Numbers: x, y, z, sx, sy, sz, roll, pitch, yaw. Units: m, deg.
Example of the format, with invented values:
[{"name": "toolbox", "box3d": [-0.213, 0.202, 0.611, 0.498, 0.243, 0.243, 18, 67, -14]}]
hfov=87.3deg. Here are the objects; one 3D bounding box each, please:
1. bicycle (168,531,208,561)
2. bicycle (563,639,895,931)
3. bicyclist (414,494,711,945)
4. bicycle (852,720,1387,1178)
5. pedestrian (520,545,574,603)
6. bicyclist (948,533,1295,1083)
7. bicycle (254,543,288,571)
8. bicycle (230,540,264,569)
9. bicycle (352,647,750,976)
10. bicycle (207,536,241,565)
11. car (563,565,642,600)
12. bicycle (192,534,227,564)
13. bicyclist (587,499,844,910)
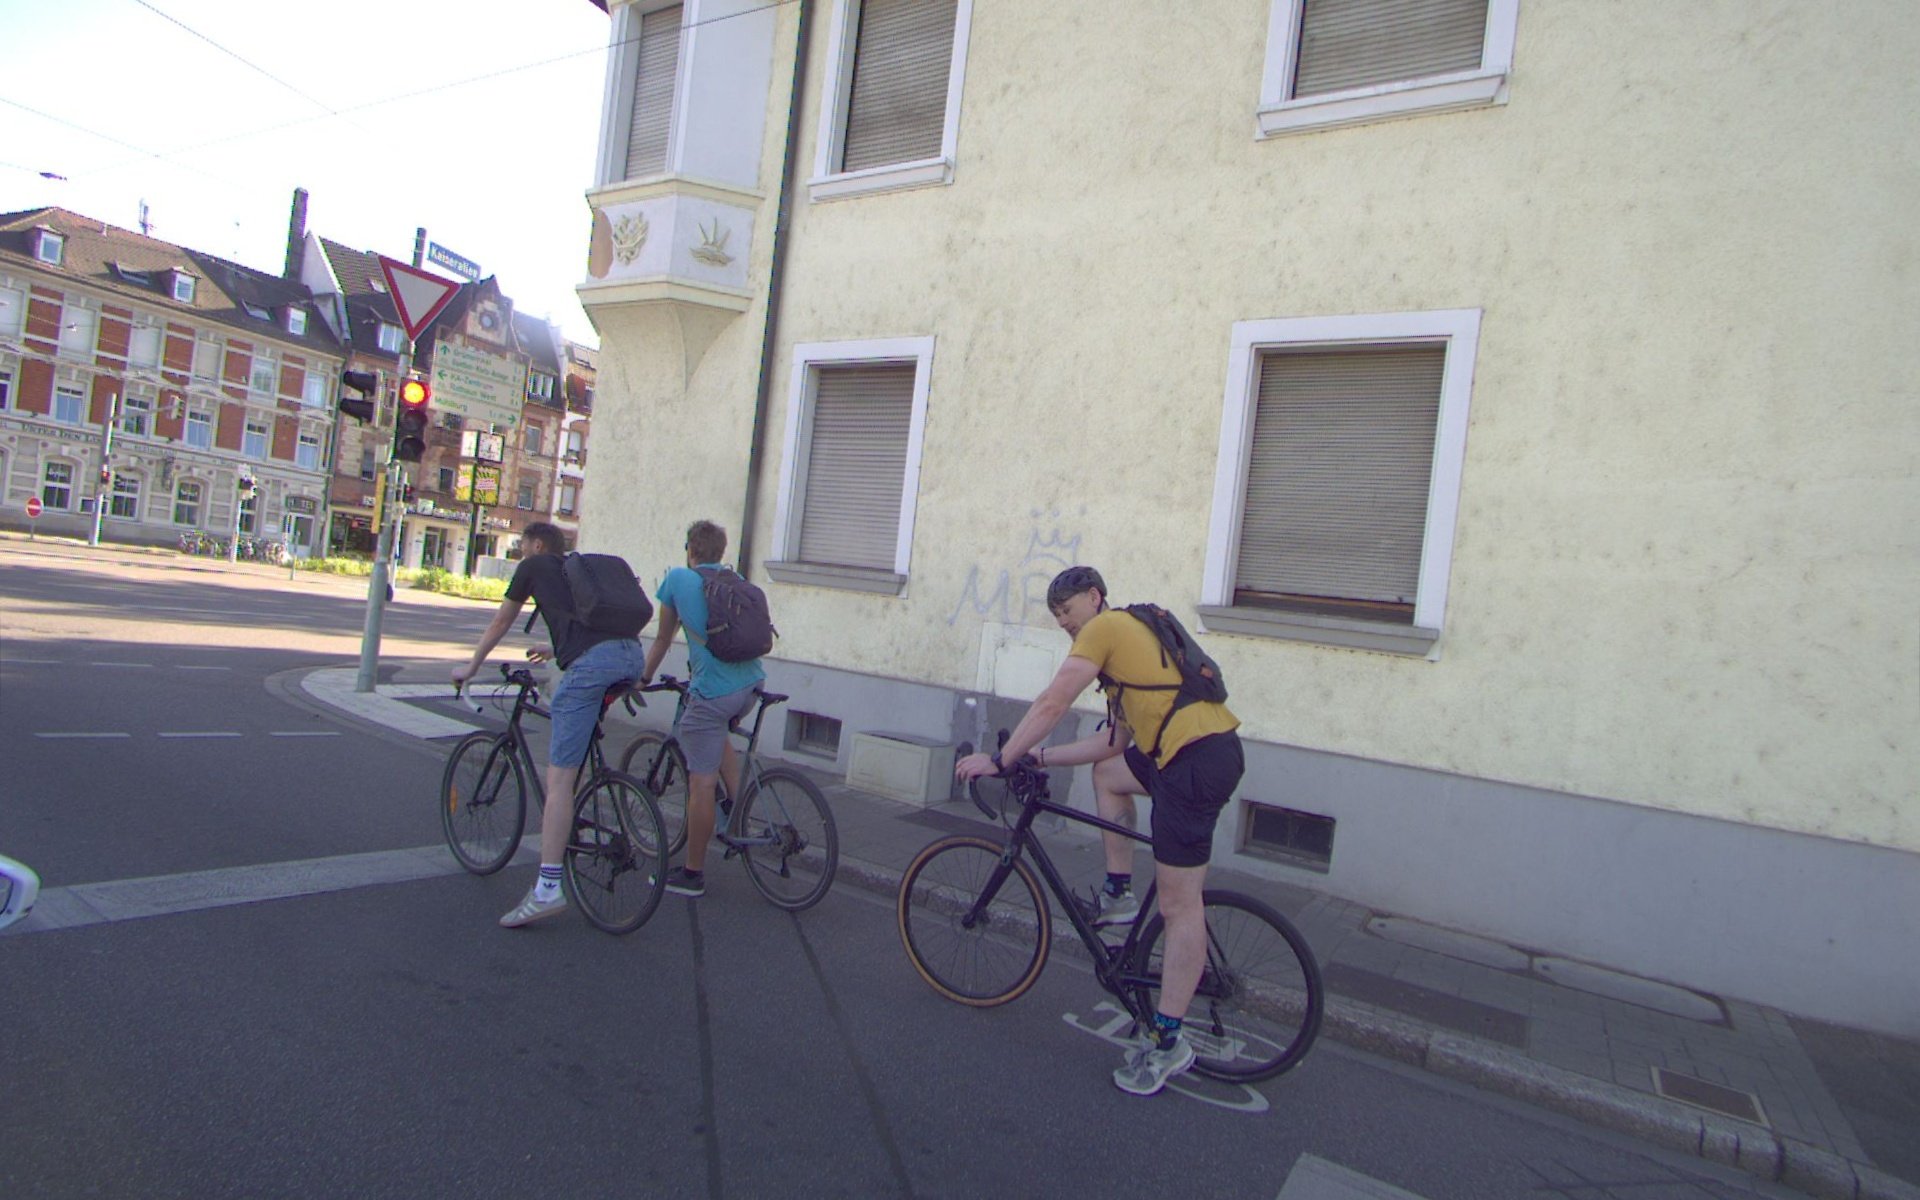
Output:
[{"name": "bicycle", "box3d": [-35.066, -2.447, 45.687, 2.140, 1.157, 0.806, 7, 0, 37]}, {"name": "bicycle", "box3d": [-1.262, 0.882, 5.290, 1.784, 1.130, 0.519, 7, 0, 34]}, {"name": "bicyclist", "box3d": [-1.811, 0.469, 4.555, 1.083, 1.775, 0.562, 7, 0, 34]}, {"name": "bicycle", "box3d": [0.543, 1.143, 3.776, 1.780, 1.101, 0.611, 7, 0, 32]}, {"name": "pedestrian", "box3d": [-16.572, -1.042, 40.386, 1.285, 2.068, 1.321, 7, 0, 31]}, {"name": "bicyclist", "box3d": [0.605, 0.686, 3.771, 0.939, 1.742, 0.582, 7, 0, 32]}, {"name": "bicycle", "box3d": [-33.119, -2.069, 48.323, 2.102, 1.150, 0.609, 7, 0, 37]}, {"name": "bicycle", "box3d": [-33.684, -2.163, 47.519, 2.140, 1.157, 0.618, 7, 0, 37]}, {"name": "bicycle", "box3d": [-1.922, 0.851, 4.601, 1.897, 1.023, 0.645, 7, 0, 34]}, {"name": "bicycle", "box3d": [-34.216, -2.310, 46.767, 2.140, 1.157, 0.618, 7, 0, 37]}, {"name": "car", "box3d": [-23.176, -1.127, 65.329, 2.116, 1.660, 4.340, 7, -1, 31]}, {"name": "bicycle", "box3d": [-34.552, -2.358, 46.290, 2.140, 1.157, 0.618, 7, 0, 37]}, {"name": "bicyclist", "box3d": [-1.278, 0.495, 5.256, 0.961, 1.917, 0.602, 6, -1, 34]}]
